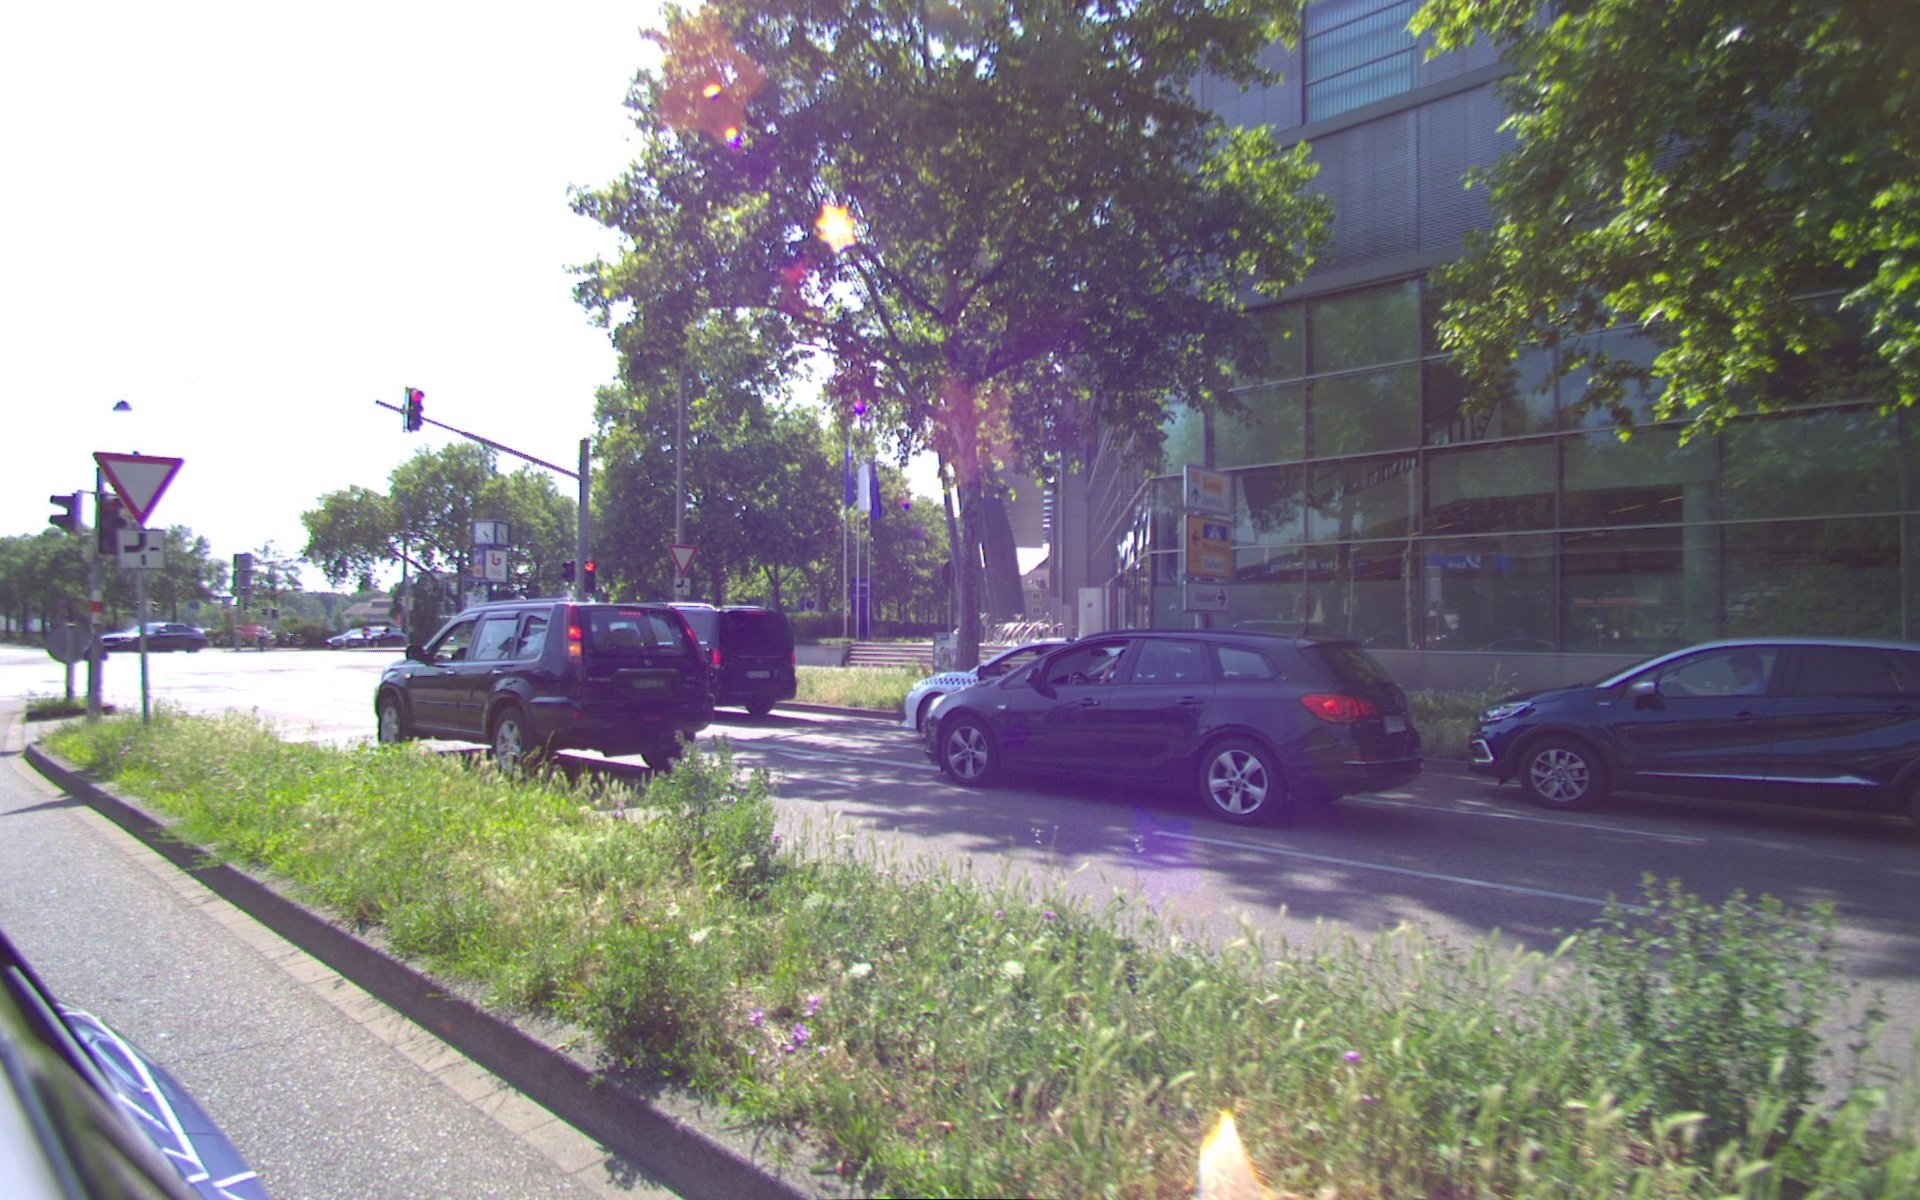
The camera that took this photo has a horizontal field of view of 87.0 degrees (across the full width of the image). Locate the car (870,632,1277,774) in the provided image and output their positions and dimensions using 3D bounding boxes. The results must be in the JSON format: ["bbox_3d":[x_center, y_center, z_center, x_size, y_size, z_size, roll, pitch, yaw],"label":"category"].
[{"bbox_3d":[1.270,1.171,12.944,5.001,1.460,1.871,-1,-4,41],"label":"car"}]

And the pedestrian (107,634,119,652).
[{"bbox_3d":[-72.247,3.647,86.330,0.879,1.536,0.571,-2,-3,39],"label":"pedestrian"}]

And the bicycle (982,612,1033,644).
[{"bbox_3d":[1.687,0.999,36.177,1.776,1.119,0.739,0,-2,2],"label":"bicycle"}]

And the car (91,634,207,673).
[{"bbox_3d":[-37.252,2.445,46.632,1.799,1.626,3.987,-2,-3,10],"label":"car"}]

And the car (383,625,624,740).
[{"bbox_3d":[-6.884,1.139,15.095,3.955,1.487,1.743,-2,-3,40],"label":"car"}]

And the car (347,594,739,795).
[{"bbox_3d":[-4.405,0.850,10.366,4.486,1.628,1.789,-2,-3,39],"label":"car"}]

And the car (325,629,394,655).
[{"bbox_3d":[-38.751,2.709,65.390,1.752,1.641,3.990,0,-2,7],"label":"car"}]

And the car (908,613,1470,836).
[{"bbox_3d":[1.807,0.922,8.927,4.514,1.473,1.817,-1,-5,41],"label":"car"}]

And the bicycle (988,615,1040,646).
[{"bbox_3d":[1.974,1.122,36.964,1.860,1.119,0.739,0,-2,2],"label":"bicycle"}]

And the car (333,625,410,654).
[{"bbox_3d":[-35.548,2.382,61.283,1.973,1.722,4.428,0,-2,1],"label":"car"}]

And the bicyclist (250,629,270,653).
[{"bbox_3d":[-43.719,2.555,63.206,0.919,1.447,0.764,-1,-2,36],"label":"bicyclist"}]

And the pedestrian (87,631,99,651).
[{"bbox_3d":[-74.205,3.480,86.567,0.767,1.722,0.623,-2,-3,39],"label":"pedestrian"}]

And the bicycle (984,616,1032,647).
[{"bbox_3d":[1.779,1.182,37.924,1.776,1.119,0.739,0,-2,2],"label":"bicycle"}]

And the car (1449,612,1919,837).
[{"bbox_3d":[6.770,0.952,8.534,4.443,1.603,1.867,-1,-4,41],"label":"car"}]

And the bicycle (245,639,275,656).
[{"bbox_3d":[-43.685,2.945,63.166,2.396,1.061,0.764,-1,-2,36],"label":"bicycle"}]

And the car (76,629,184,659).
[{"bbox_3d":[-54.266,2.895,66.281,5.078,1.737,2.005,-1,-3,-14],"label":"car"}]

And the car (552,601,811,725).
[{"bbox_3d":[-5.163,1.116,18.331,5.224,1.934,1.918,-3,-3,40],"label":"car"}]
